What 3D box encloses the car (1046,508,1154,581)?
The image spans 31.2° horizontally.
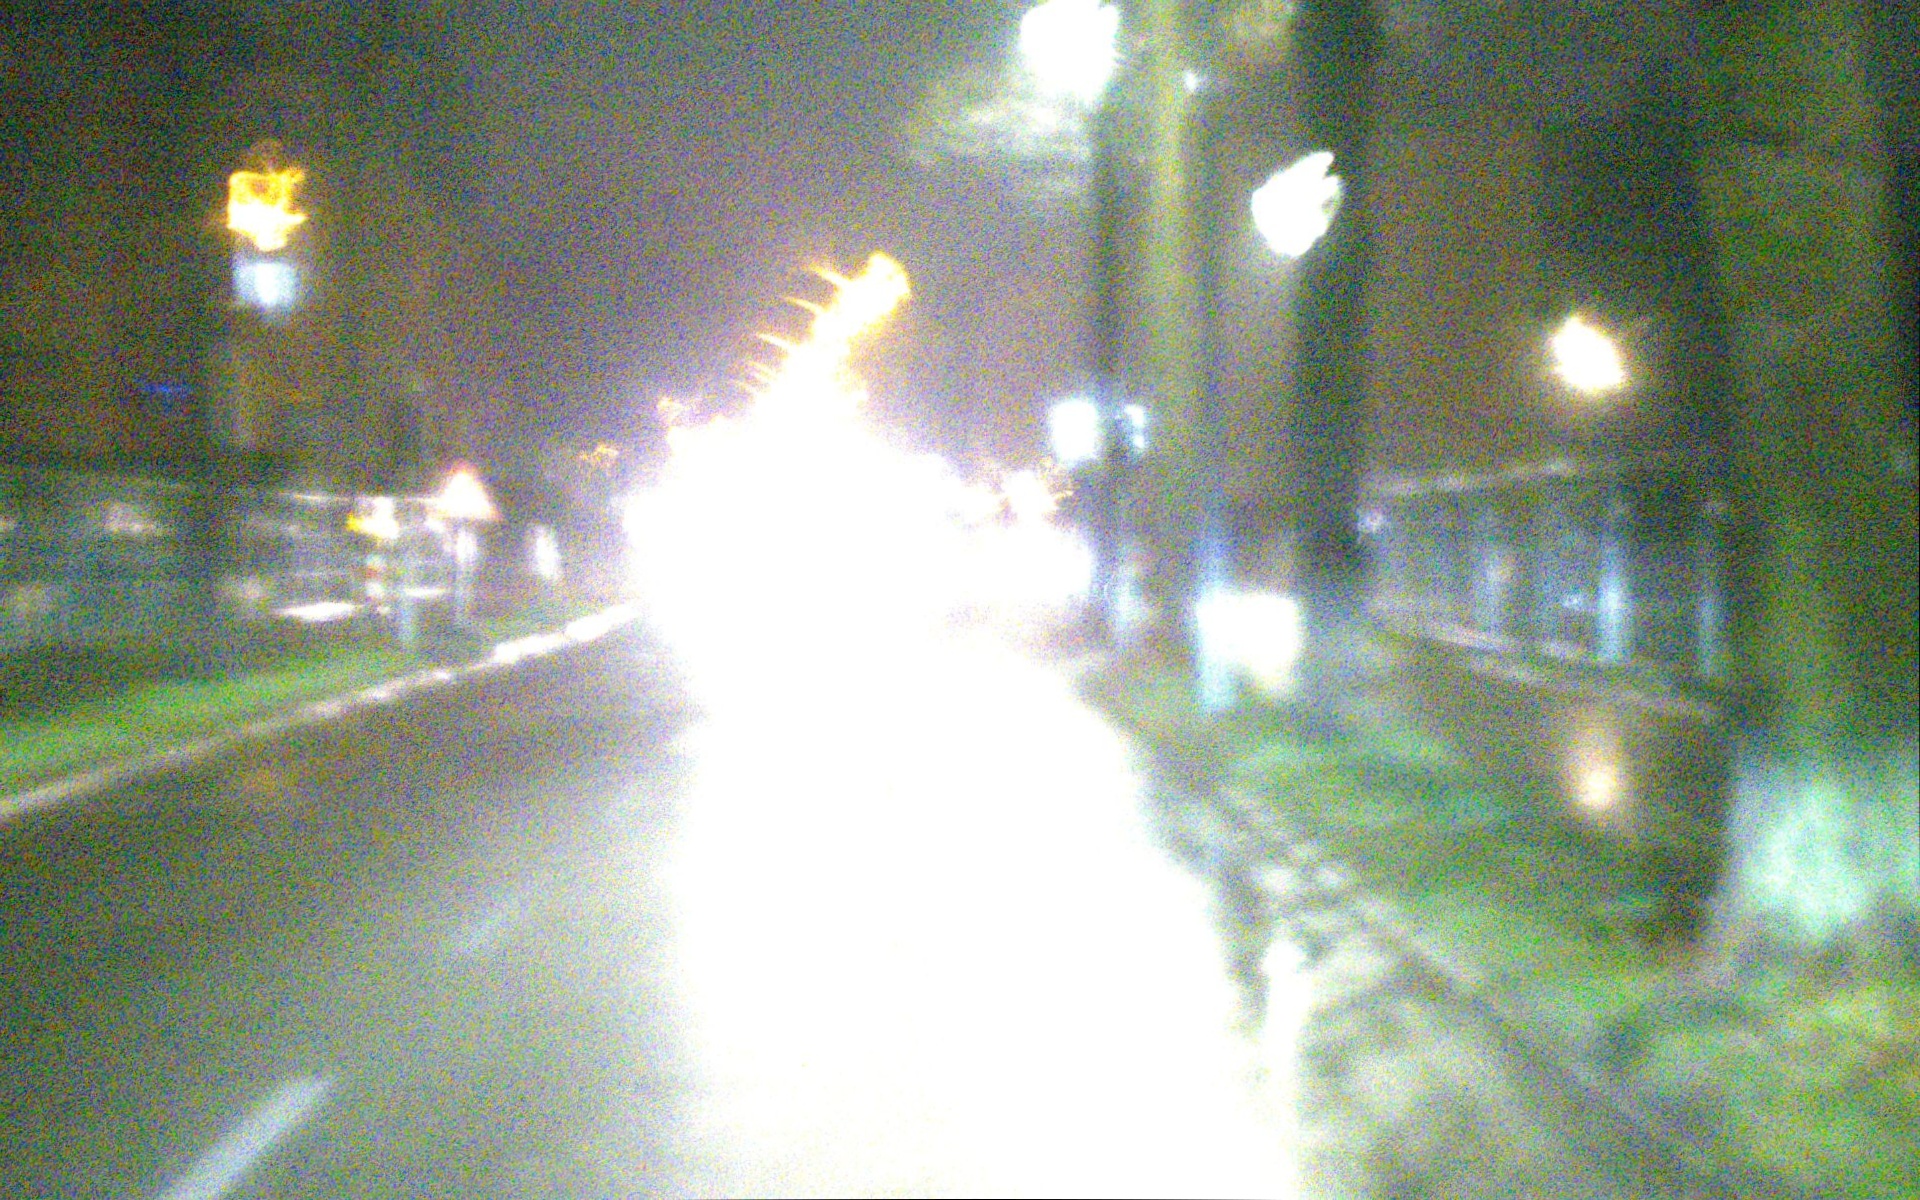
[{"bbox_3d":[3.022,-1.237,75.057,1.789,1.444,4.792,-2,2,-4],"label":"car"}]

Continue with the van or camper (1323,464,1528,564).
[{"bbox_3d":[12.168,-2.270,90.115,5.062,2.518,2.172,-1,2,0],"label":"van or camper"}]

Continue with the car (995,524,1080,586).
[{"bbox_3d":[1.925,-1.142,86.131,1.713,1.483,4.437,-1,1,-4],"label":"car"}]

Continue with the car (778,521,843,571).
[{"bbox_3d":[-4.445,-1.634,102.734,1.745,1.428,4.000,-1,1,0],"label":"car"}]

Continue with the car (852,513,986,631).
[{"bbox_3d":[-0.637,-0.466,53.254,1.993,1.678,4.001,0,3,-1],"label":"car"}]
